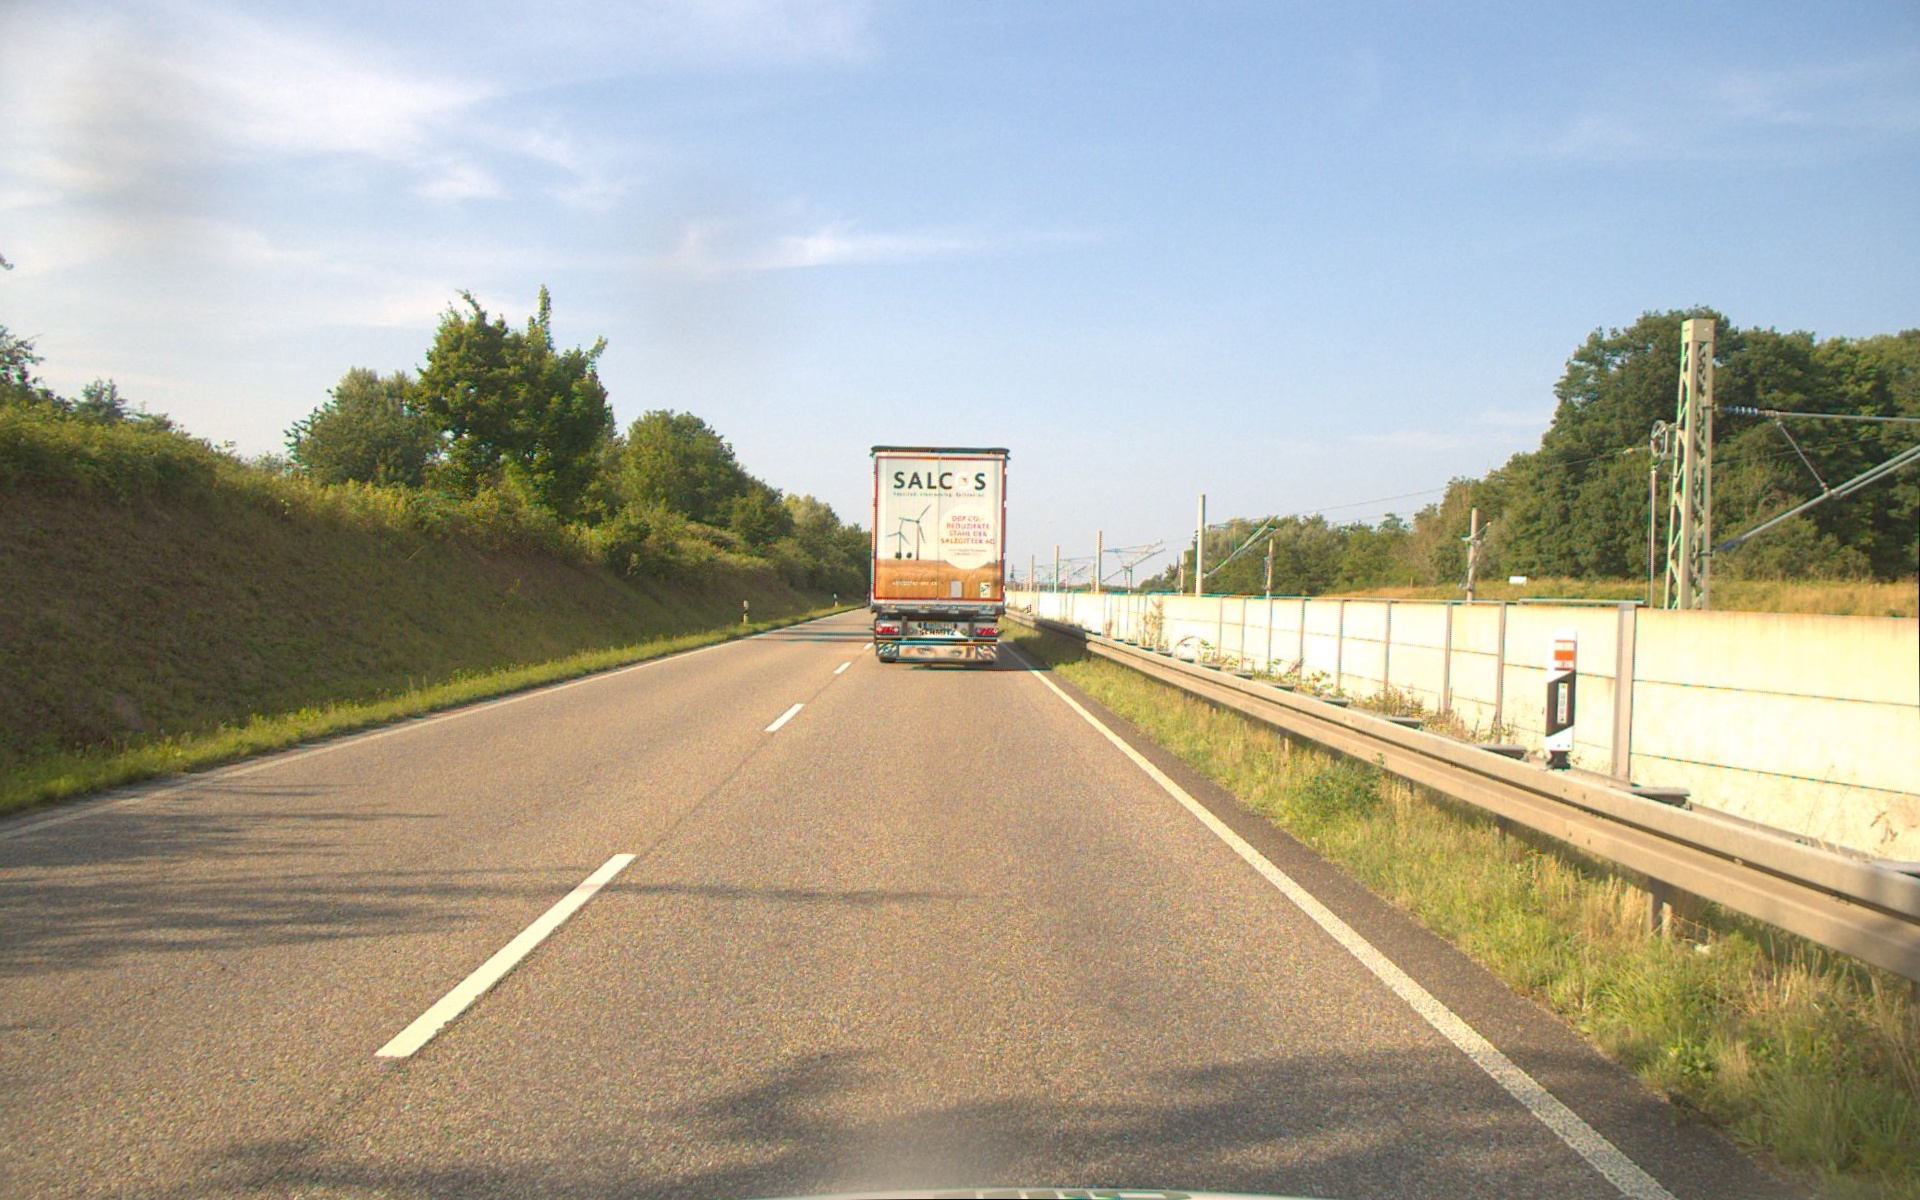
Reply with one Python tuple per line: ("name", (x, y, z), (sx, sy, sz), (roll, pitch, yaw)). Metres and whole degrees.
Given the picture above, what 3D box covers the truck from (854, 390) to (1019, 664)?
("truck", (-0.620, -1.387, 36.440), (2.972, 5.006, 11.680), (1, 0, -2))
